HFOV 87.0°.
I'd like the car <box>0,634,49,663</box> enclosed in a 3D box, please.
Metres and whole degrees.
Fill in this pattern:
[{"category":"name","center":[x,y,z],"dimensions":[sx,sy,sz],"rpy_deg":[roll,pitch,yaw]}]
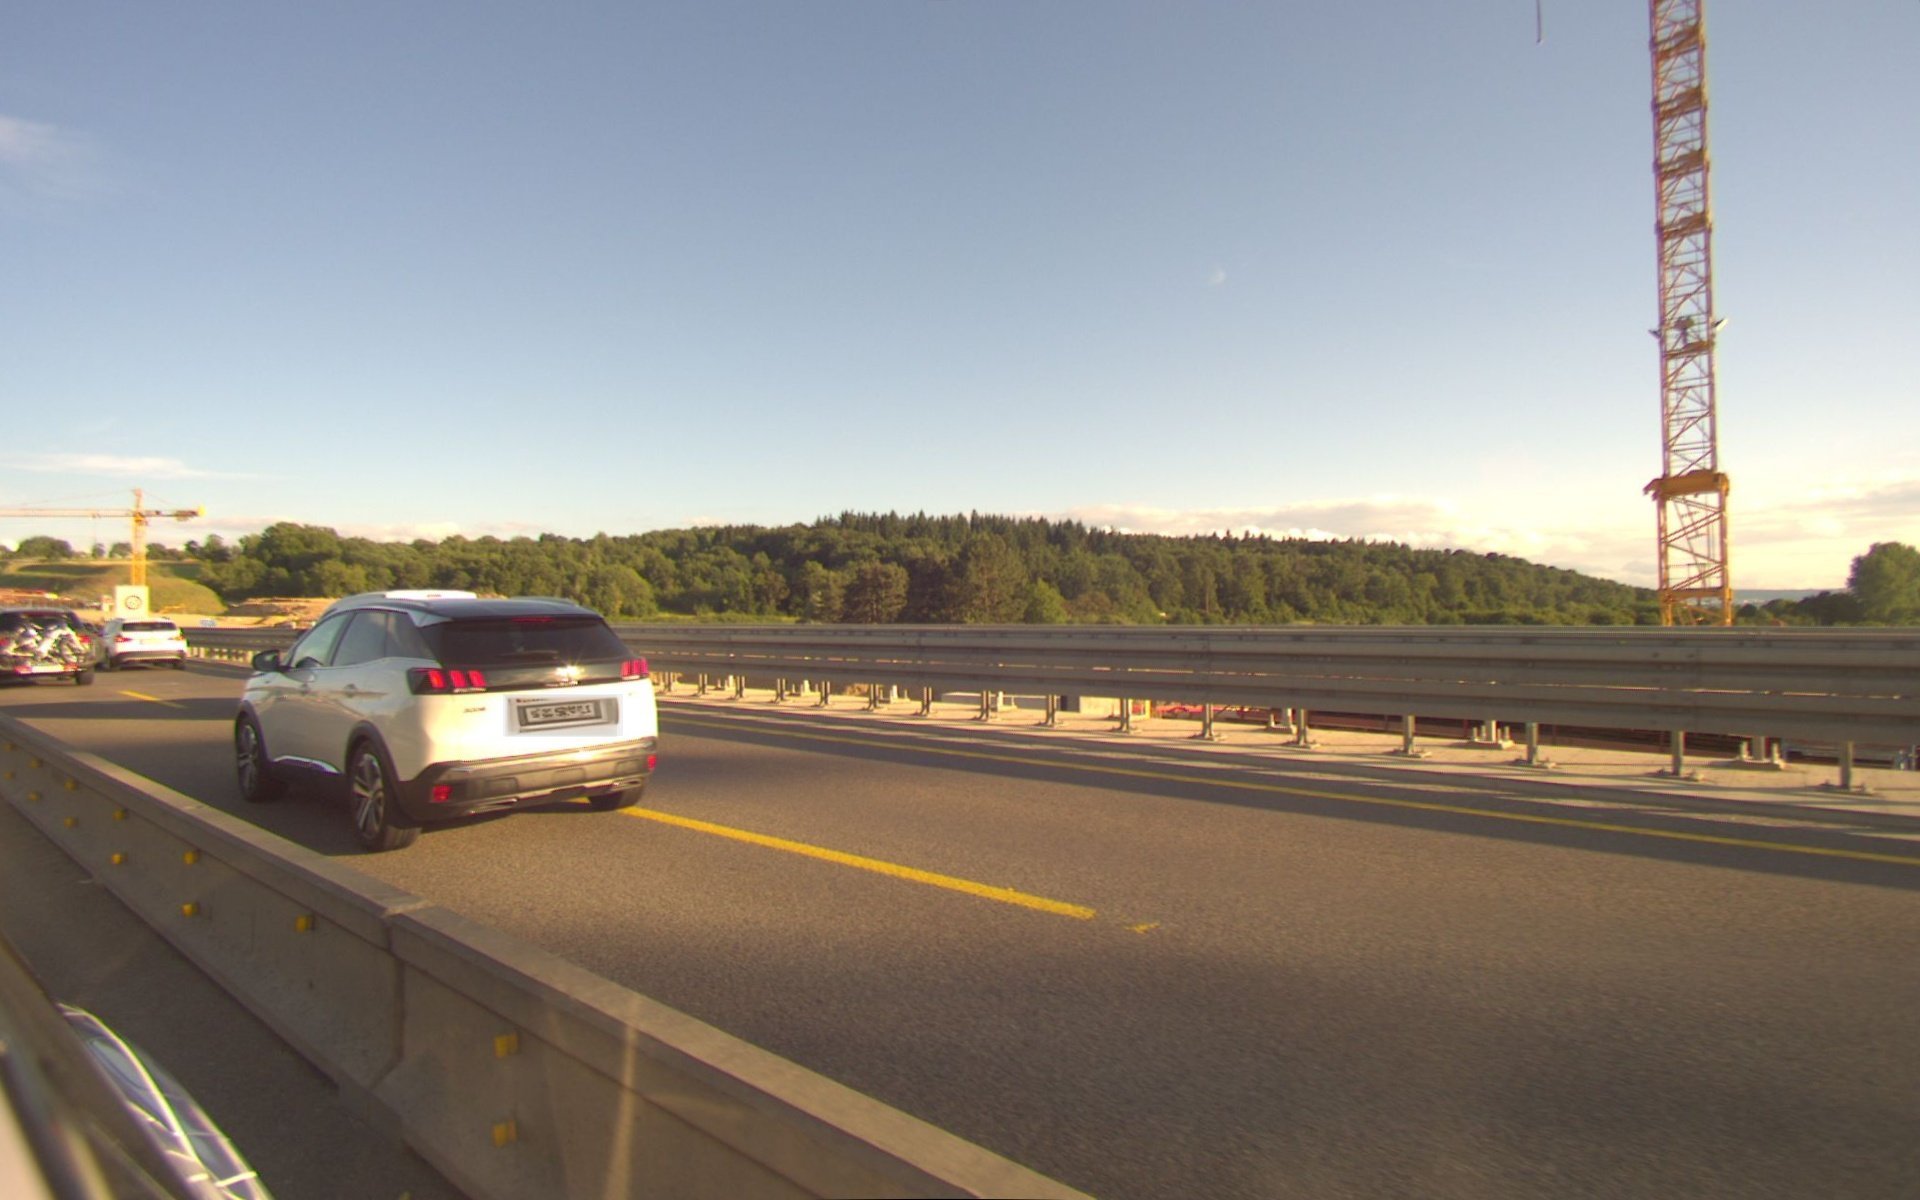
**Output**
[{"category":"car","center":[-48.406,2.480,52.098],"dimensions":[4.531,1.393,1.755],"rpy_deg":[-1,-1,42]}]

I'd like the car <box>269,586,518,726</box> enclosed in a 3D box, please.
[{"category":"car","center":[-8.926,0.795,15.814],"dimensions":[4.279,1.870,1.974],"rpy_deg":[-2,0,40]}]

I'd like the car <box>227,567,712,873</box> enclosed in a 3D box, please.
[{"category":"car","center":[-3.777,0.710,7.494],"dimensions":[3.998,1.652,1.819],"rpy_deg":[-2,-2,41]}]

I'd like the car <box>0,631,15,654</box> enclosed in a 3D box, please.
[{"category":"car","center":[-63.031,2.809,66.031],"dimensions":[4.578,1.433,1.659],"rpy_deg":[-3,-1,42]}]

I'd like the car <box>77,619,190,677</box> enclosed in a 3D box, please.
[{"category":"car","center":[-24.122,1.384,29.483],"dimensions":[4.287,1.558,1.908],"rpy_deg":[-2,-3,42]}]

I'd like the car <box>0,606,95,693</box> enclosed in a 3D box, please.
[{"category":"car","center":[-21.352,1.083,22.918],"dimensions":[4.668,1.767,1.910],"rpy_deg":[-2,0,40]}]
